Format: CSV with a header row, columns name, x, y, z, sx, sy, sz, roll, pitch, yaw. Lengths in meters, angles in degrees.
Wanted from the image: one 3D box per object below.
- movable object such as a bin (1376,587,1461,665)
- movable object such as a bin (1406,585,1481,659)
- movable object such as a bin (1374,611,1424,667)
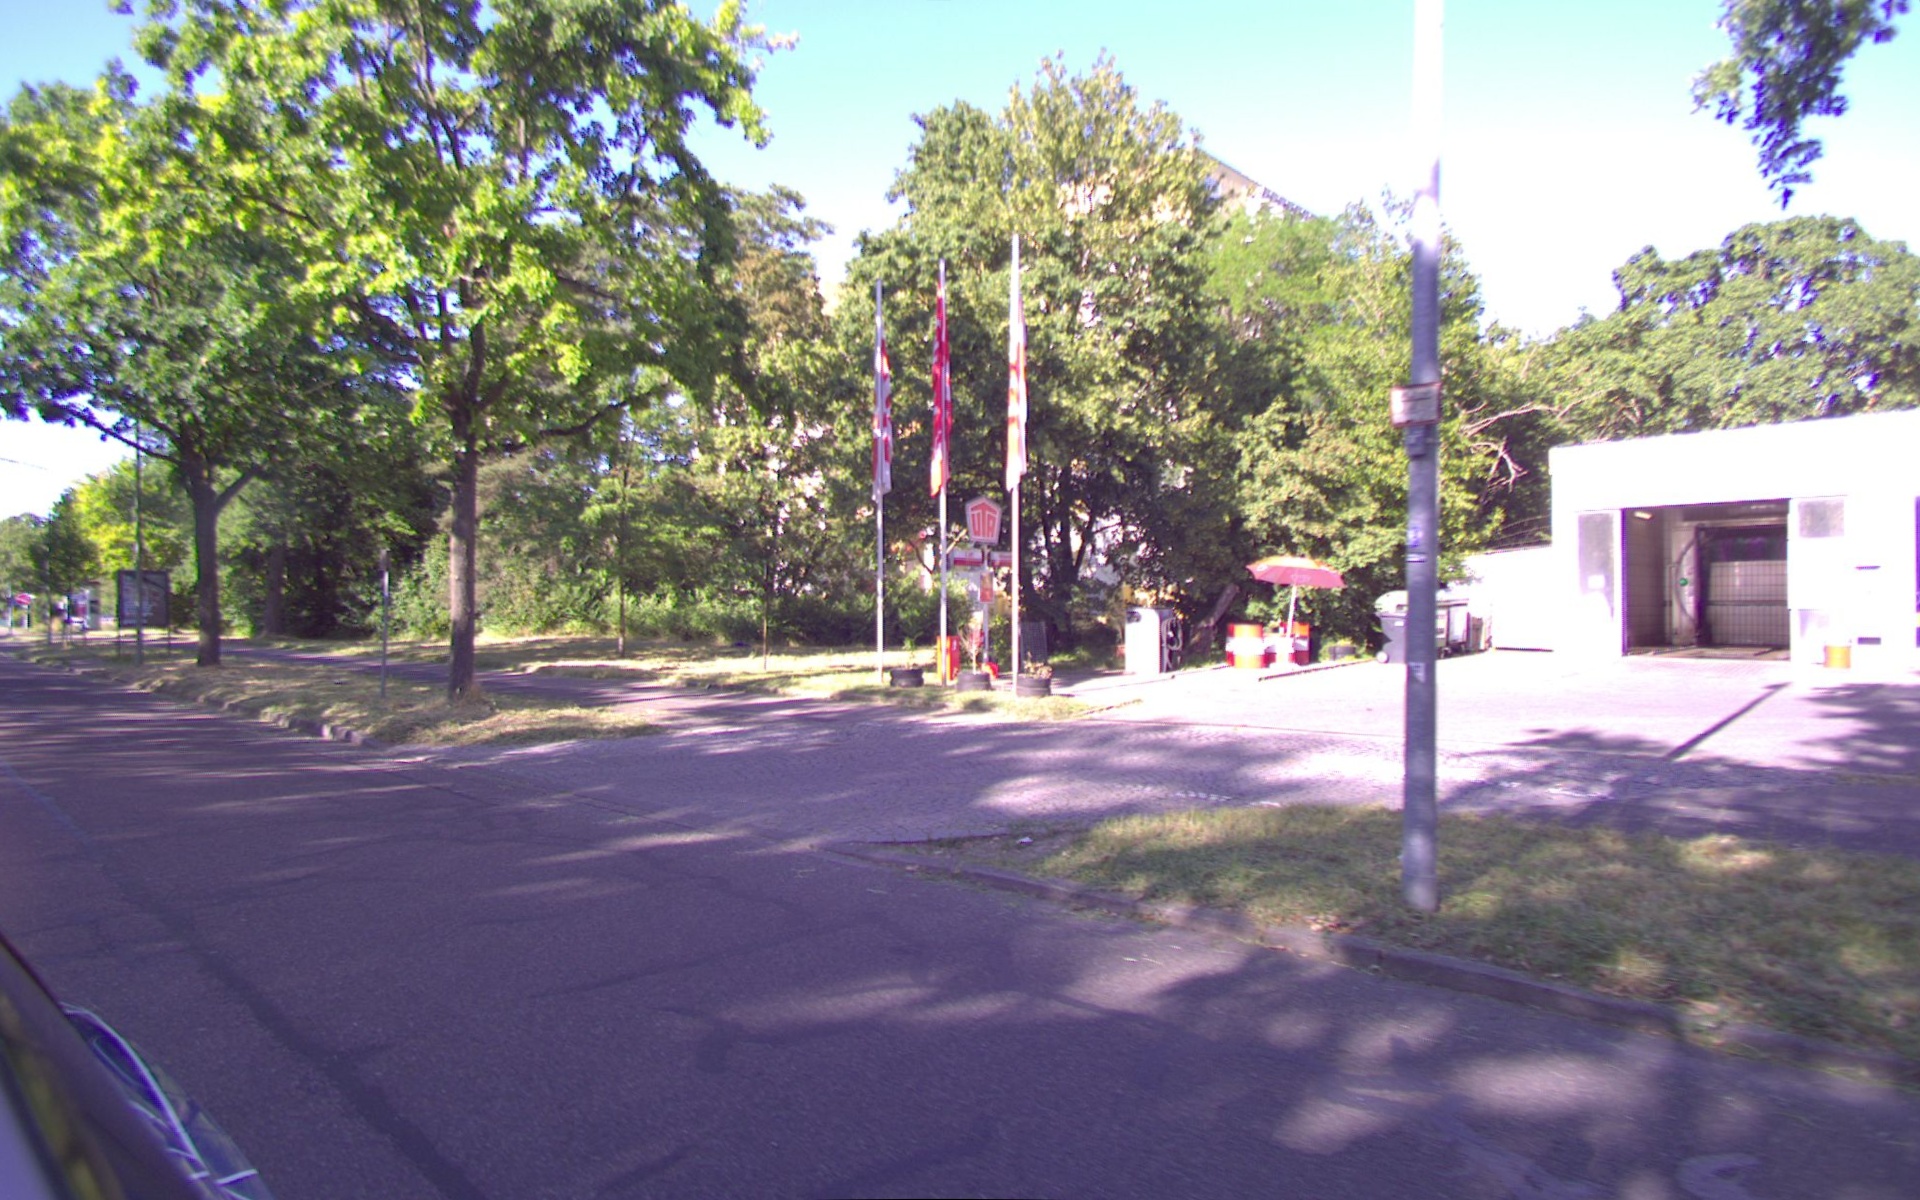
name,x,y,z,sx,sy,sz,roll,pitch,yaw
movable object such as a bin,9.560,0.540,21.099,1.267,1.553,1.290,-2,-1,41
movable object such as a bin,10.629,0.471,22.234,1.163,1.553,1.290,-2,0,41
movable object such as a bin,8.854,0.775,20.410,0.768,1.094,0.562,-2,-1,41
